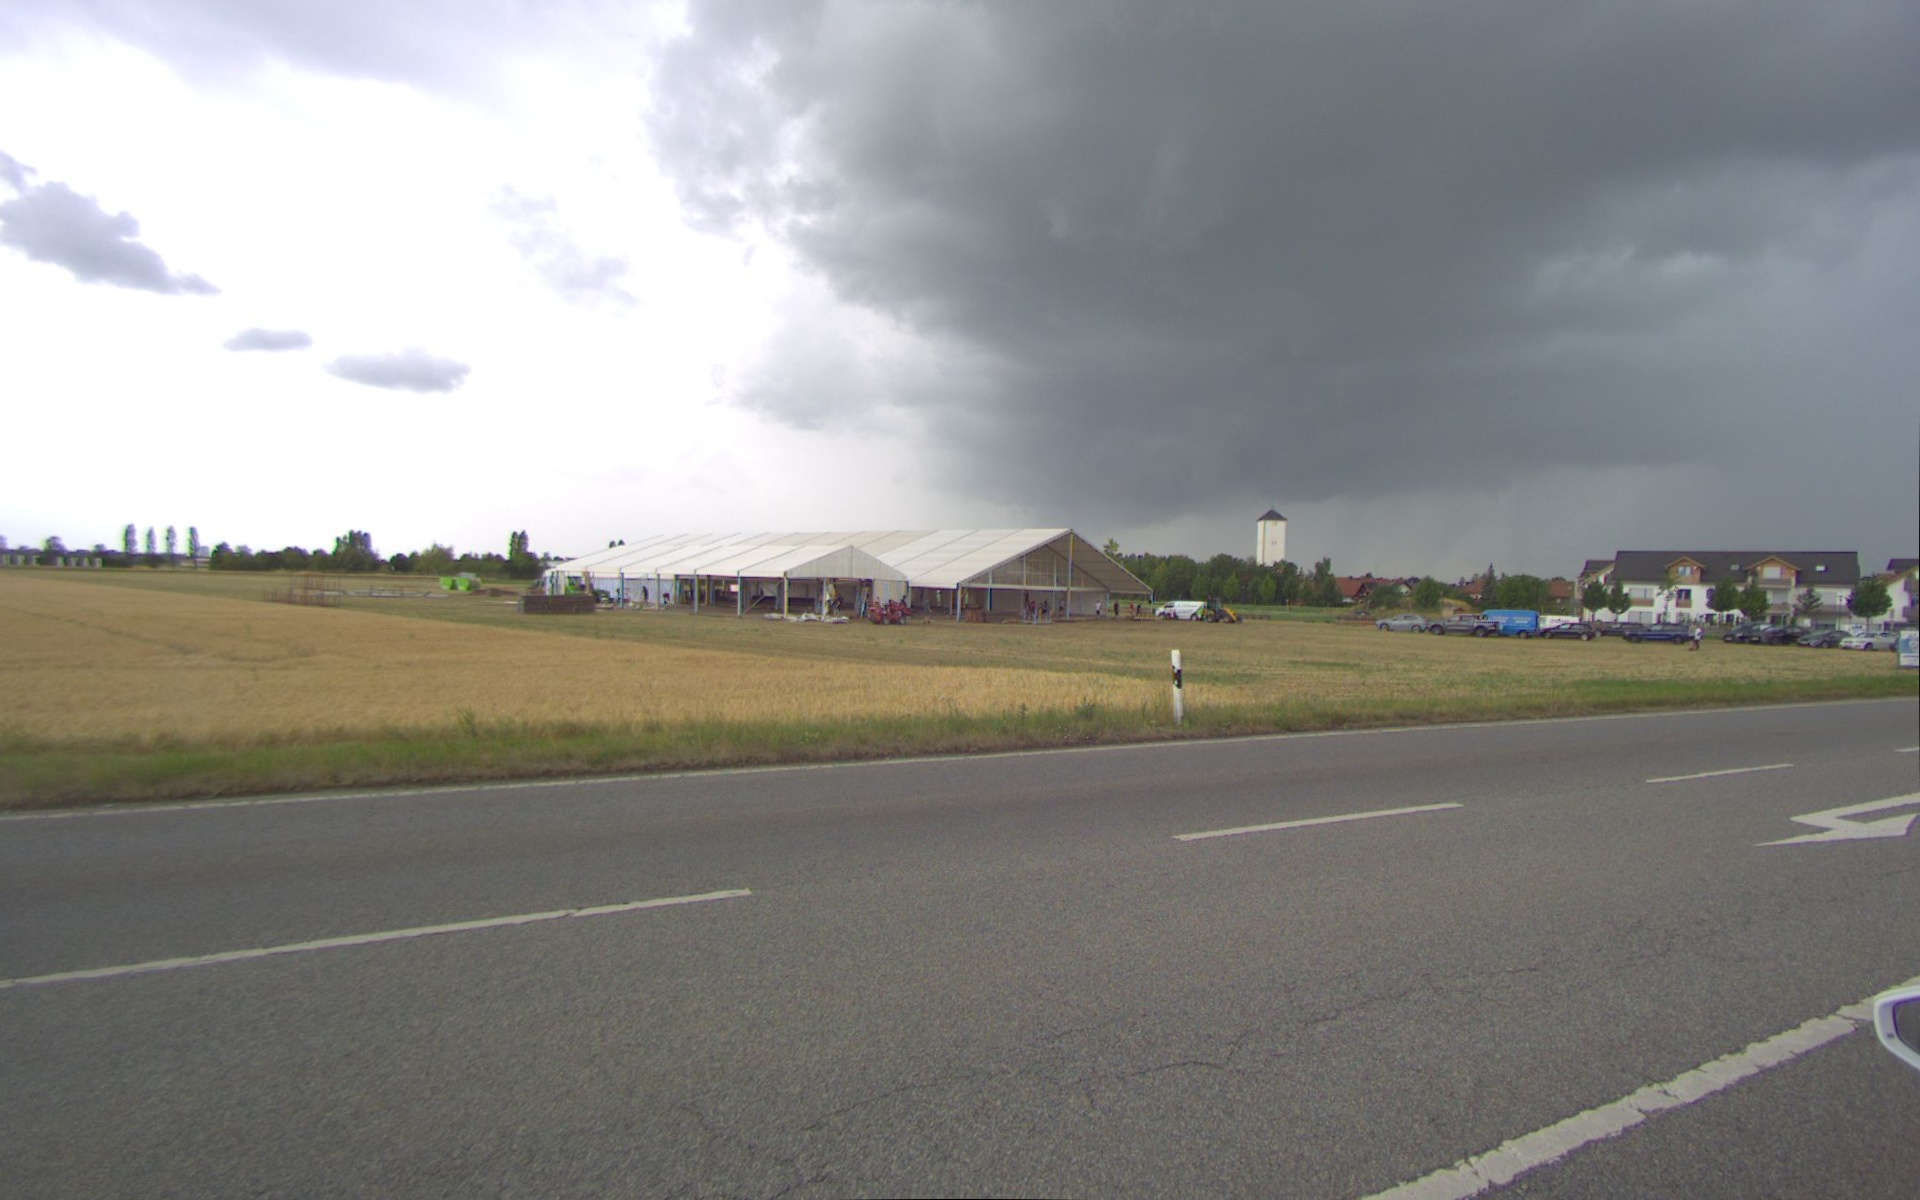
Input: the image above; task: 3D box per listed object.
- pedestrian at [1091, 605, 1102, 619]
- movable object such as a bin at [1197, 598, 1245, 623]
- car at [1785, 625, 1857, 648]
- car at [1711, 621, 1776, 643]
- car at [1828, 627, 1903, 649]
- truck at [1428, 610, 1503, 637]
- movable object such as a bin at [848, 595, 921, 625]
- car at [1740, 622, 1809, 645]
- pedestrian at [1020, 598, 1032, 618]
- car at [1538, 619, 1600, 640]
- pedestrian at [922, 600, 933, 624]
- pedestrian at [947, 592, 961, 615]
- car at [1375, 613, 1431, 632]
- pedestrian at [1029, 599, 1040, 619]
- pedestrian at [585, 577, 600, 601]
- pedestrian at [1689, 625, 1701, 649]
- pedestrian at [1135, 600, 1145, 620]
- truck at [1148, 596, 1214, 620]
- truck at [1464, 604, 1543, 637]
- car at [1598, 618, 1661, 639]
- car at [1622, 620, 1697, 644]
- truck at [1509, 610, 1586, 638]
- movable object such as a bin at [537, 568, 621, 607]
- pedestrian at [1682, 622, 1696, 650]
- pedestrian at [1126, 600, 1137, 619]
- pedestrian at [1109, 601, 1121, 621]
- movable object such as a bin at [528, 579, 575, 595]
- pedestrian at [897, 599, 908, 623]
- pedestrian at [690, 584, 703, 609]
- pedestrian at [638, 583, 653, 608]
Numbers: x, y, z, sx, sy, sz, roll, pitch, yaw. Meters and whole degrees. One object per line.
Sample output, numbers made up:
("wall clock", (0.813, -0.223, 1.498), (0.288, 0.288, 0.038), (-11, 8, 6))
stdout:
("pedestrian", (12.270, 1.066, 90.223), (0.689, 1.288, 0.682), (1, 0, -40))
("movable object such as a bin", (24.835, 0.978, 95.606), (3.929, 2.273, 1.880), (2, 0, 33))
("car", (65.071, 2.745, 75.917), (4.137, 1.556, 1.996), (1, 0, -11))
("car", (64.521, 2.627, 82.740), (4.137, 1.650, 1.996), (1, 0, -11))
("car", (66.045, 2.751, 73.295), (4.137, 1.465, 1.996), (1, 0, -11))
("truck", (41.130, 1.899, 81.813), (5.156, 1.946, 2.106), (2, 0, 35))
("movable object such as a bin", (-5.087, 0.699, 67.943), (2.556, 1.889, 4.456), (2, 0, 37))
("car", (63.977, 2.589, 78.912), (4.137, 1.650, 1.996), (1, 0, -11))
("pedestrian", (5.957, 0.743, 90.379), (0.721, 1.803, 0.756), (2, 0, 41))
("car", (50.310, 2.395, 82.963), (4.107, 1.539, 1.990), (2, 0, 41))
("pedestrian", (-2.247, 0.844, 69.841), (0.548, 1.649, 0.539), (1, 0, -43))
("pedestrian", (-0.555, 0.315, 89.455), (0.872, 2.040, 0.758), (1, 0, -44))
("car", (38.971, 1.961, 88.425), (4.237, 1.481, 1.886), (2, 0, 35))
("pedestrian", (6.617, 0.773, 89.495), (0.646, 1.767, 0.724), (2, 0, 41))
("pedestrian", (-31.230, -0.926, 85.299), (1.010, 2.040, 0.803), (2, 0, 41))
("pedestrian", (48.973, 2.464, 66.940), (0.583, 1.576, 0.622), (2, 0, 42))
("pedestrian", (17.210, 0.946, 95.900), (0.702, 1.890, 0.620), (1, 0, -35))
("truck", (22.342, 0.841, 101.690), (5.962, 2.246, 2.713), (2, 0, 34))
("truck", (45.044, 1.685, 83.274), (5.380, 2.478, 2.384), (2, 0, 38))
("car", (61.274, 2.592, 92.009), (4.572, 1.720, 1.990), (2, 0, 41))
("car", (55.112, 2.490, 79.198), (4.661, 1.720, 1.990), (2, 0, 41))
("truck", (51.178, 2.076, 87.573), (5.495, 2.226, 2.596), (2, 0, 38))
("movable object such as a bin", (-35.034, -1.181, 92.327), (7.468, 3.219, 4.138), (3, 1, 40))
("pedestrian", (48.204, 2.361, 66.400), (0.673, 1.809, 0.543), (1, 0, -41))
("pedestrian", (16.049, 0.893, 94.016), (0.680, 1.799, 0.691), (2, 0, 41))
("pedestrian", (13.836, 0.986, 89.620), (0.680, 1.799, 0.691), (2, 0, 41))
("movable object such as a bin", (-56.018, -1.755, 137.865), (2.529, 2.040, 5.385), (2, 0, 42))
("pedestrian", (-4.042, 0.775, 70.698), (0.578, 1.649, 0.466), (2, 0, -35))
("pedestrian", (-22.672, -0.309, 86.428), (0.926, 2.130, 0.864), (2, 0, -20))
("pedestrian", (-25.593, -0.366, 81.700), (1.007, 2.040, 0.805), (2, 0, -11))
